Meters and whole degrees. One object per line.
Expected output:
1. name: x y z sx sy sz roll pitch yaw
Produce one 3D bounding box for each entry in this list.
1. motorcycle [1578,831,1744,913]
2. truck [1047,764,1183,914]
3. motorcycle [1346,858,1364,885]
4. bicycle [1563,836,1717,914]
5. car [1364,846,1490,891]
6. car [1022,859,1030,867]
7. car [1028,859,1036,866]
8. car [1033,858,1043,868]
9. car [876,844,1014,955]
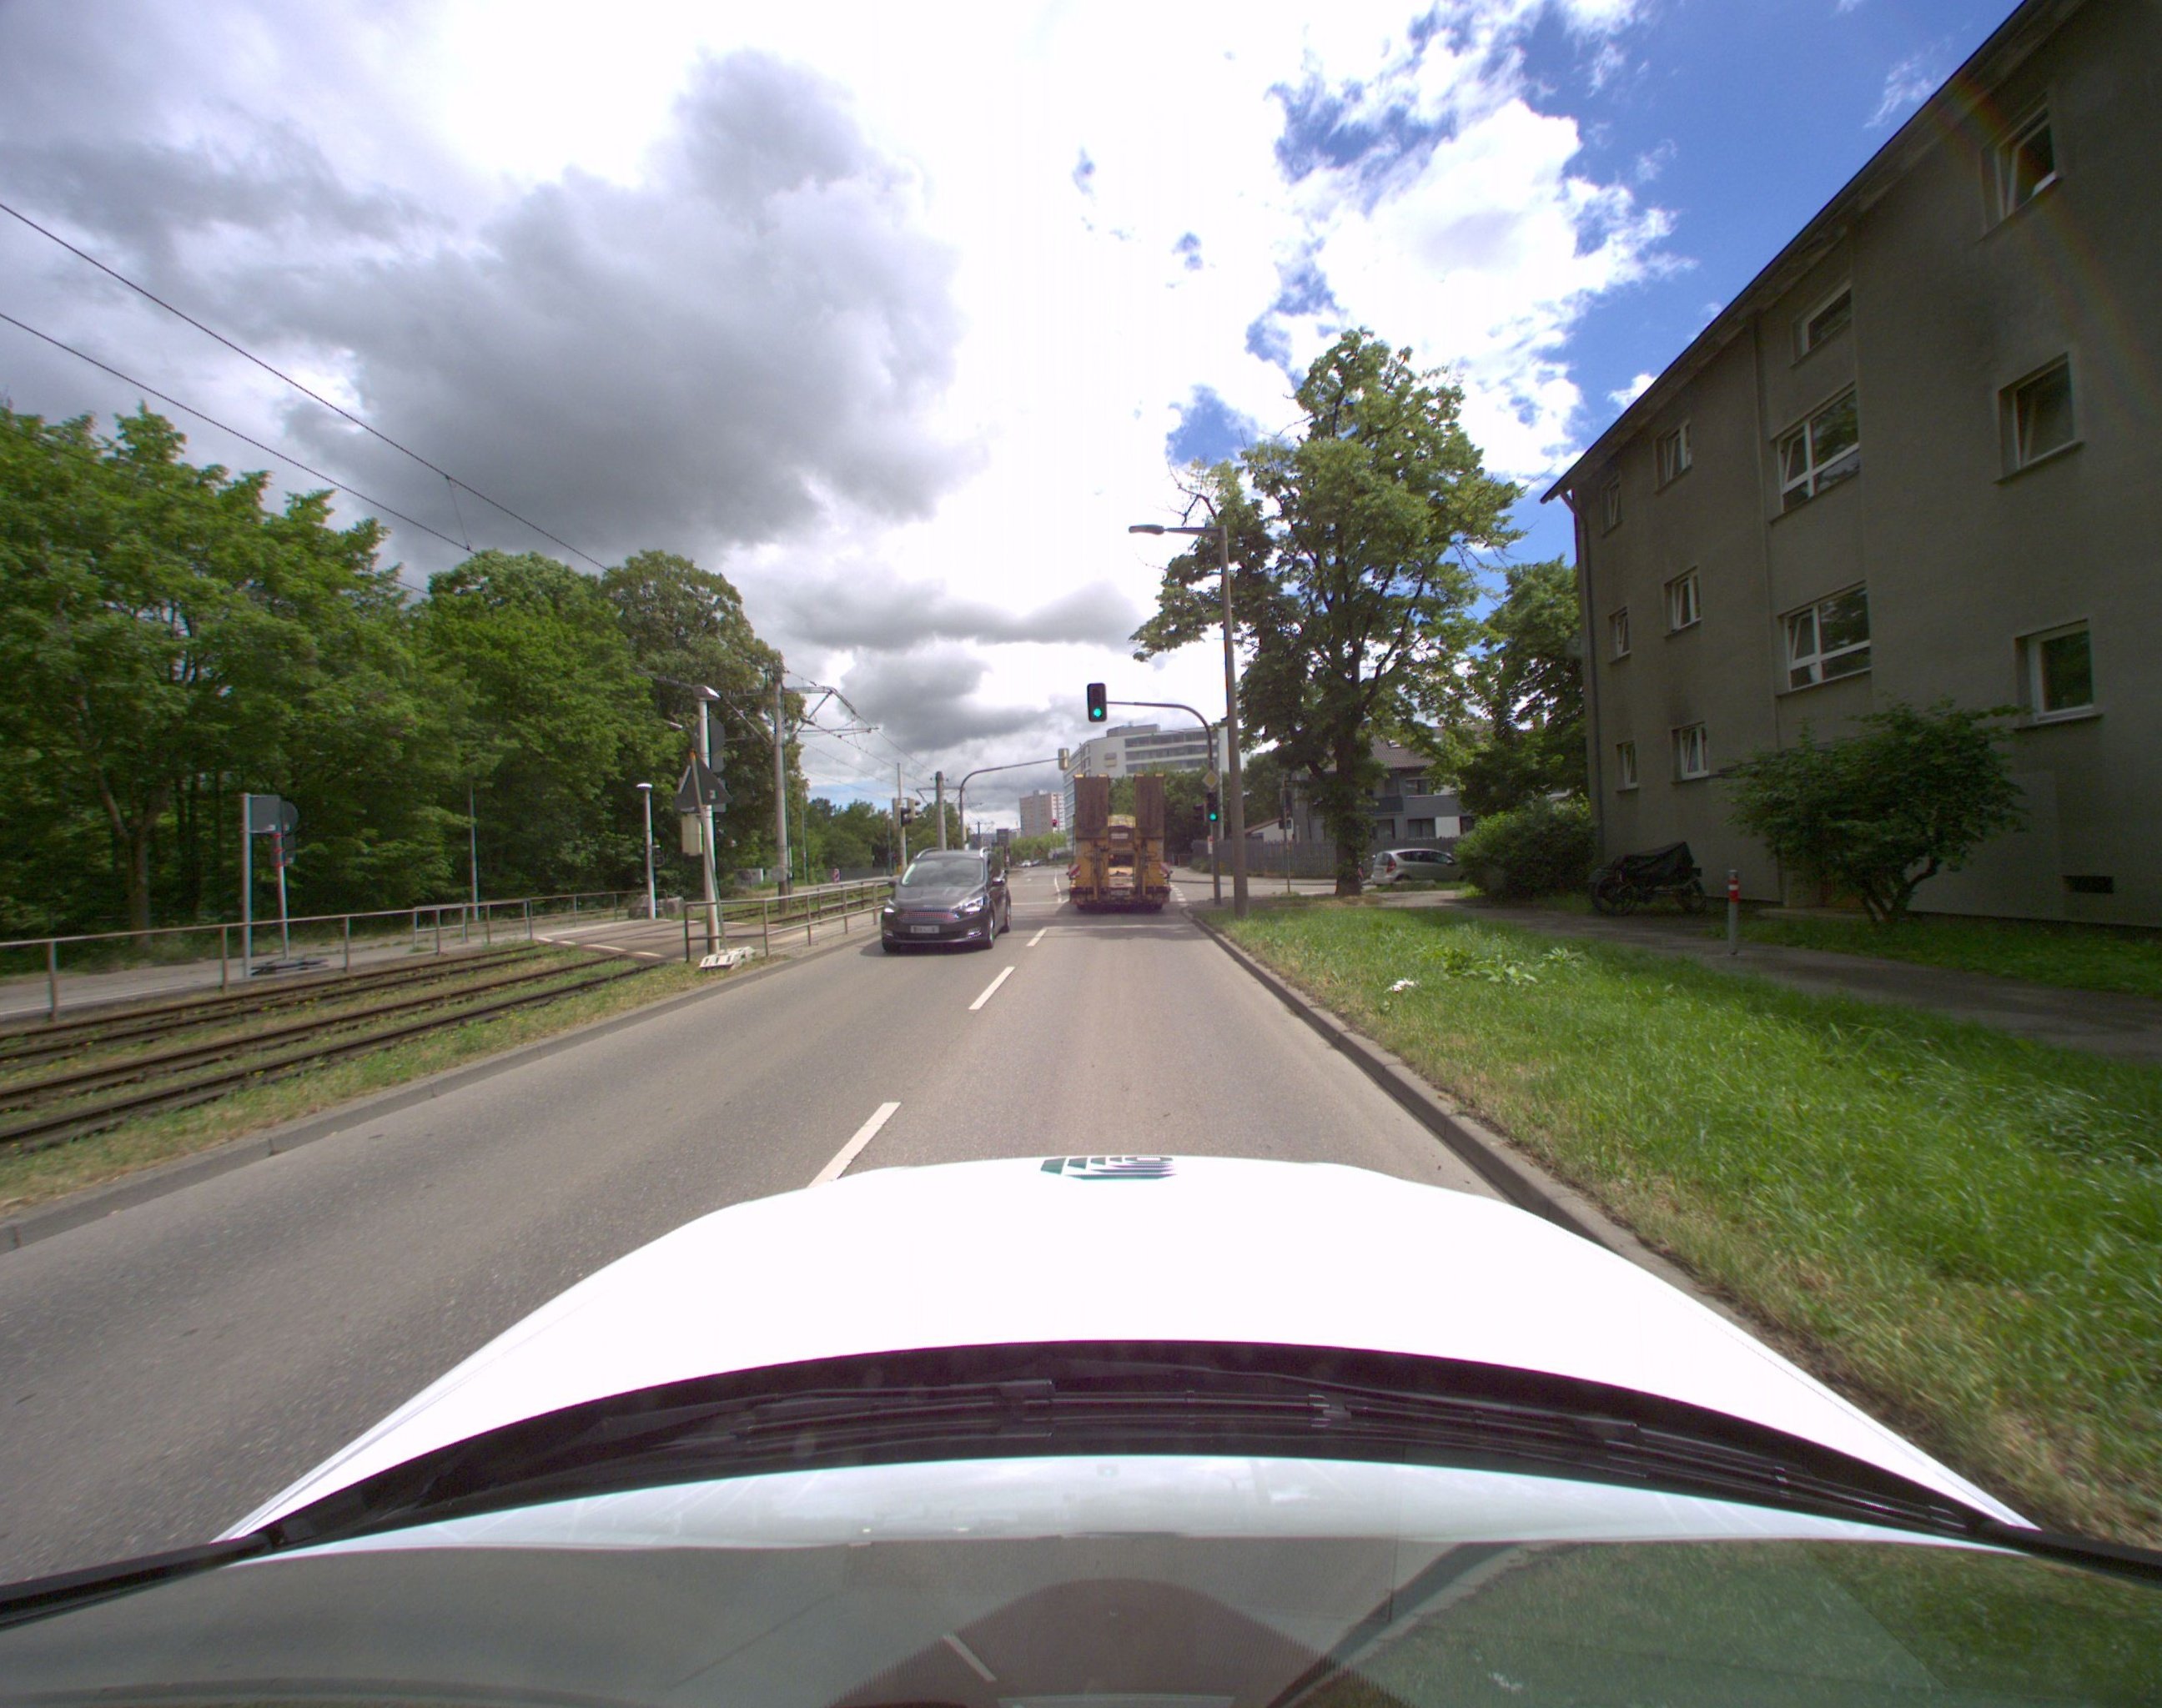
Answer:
1. motorcycle: 9.897 0.310 13.975 2.191 1.282 0.682 -3 -1 10
2. truck: 0.912 -0.304 26.536 3.305 3.651 12.561 -1 -1 1
3. motorcycle: 12.469 0.777 37.034 0.653 1.149 2.437 -1 -1 20
4. bicycle: 10.031 0.376 14.678 2.153 1.282 0.682 -3 -1 10
5. car: 13.172 0.545 31.146 3.982 1.554 1.935 -1 0 -6
6. car: -11.720 1.898 174.767 1.589 1.527 3.651 -3 -1 -3
7. car: -11.660 2.021 194.084 1.990 1.420 3.993 -1 -1 -5
8. car: -8.971 1.859 171.167 1.990 1.926 3.993 -1 -1 -5
9. car: -2.247 0.696 14.546 1.701 1.676 4.228 -1 0 0
